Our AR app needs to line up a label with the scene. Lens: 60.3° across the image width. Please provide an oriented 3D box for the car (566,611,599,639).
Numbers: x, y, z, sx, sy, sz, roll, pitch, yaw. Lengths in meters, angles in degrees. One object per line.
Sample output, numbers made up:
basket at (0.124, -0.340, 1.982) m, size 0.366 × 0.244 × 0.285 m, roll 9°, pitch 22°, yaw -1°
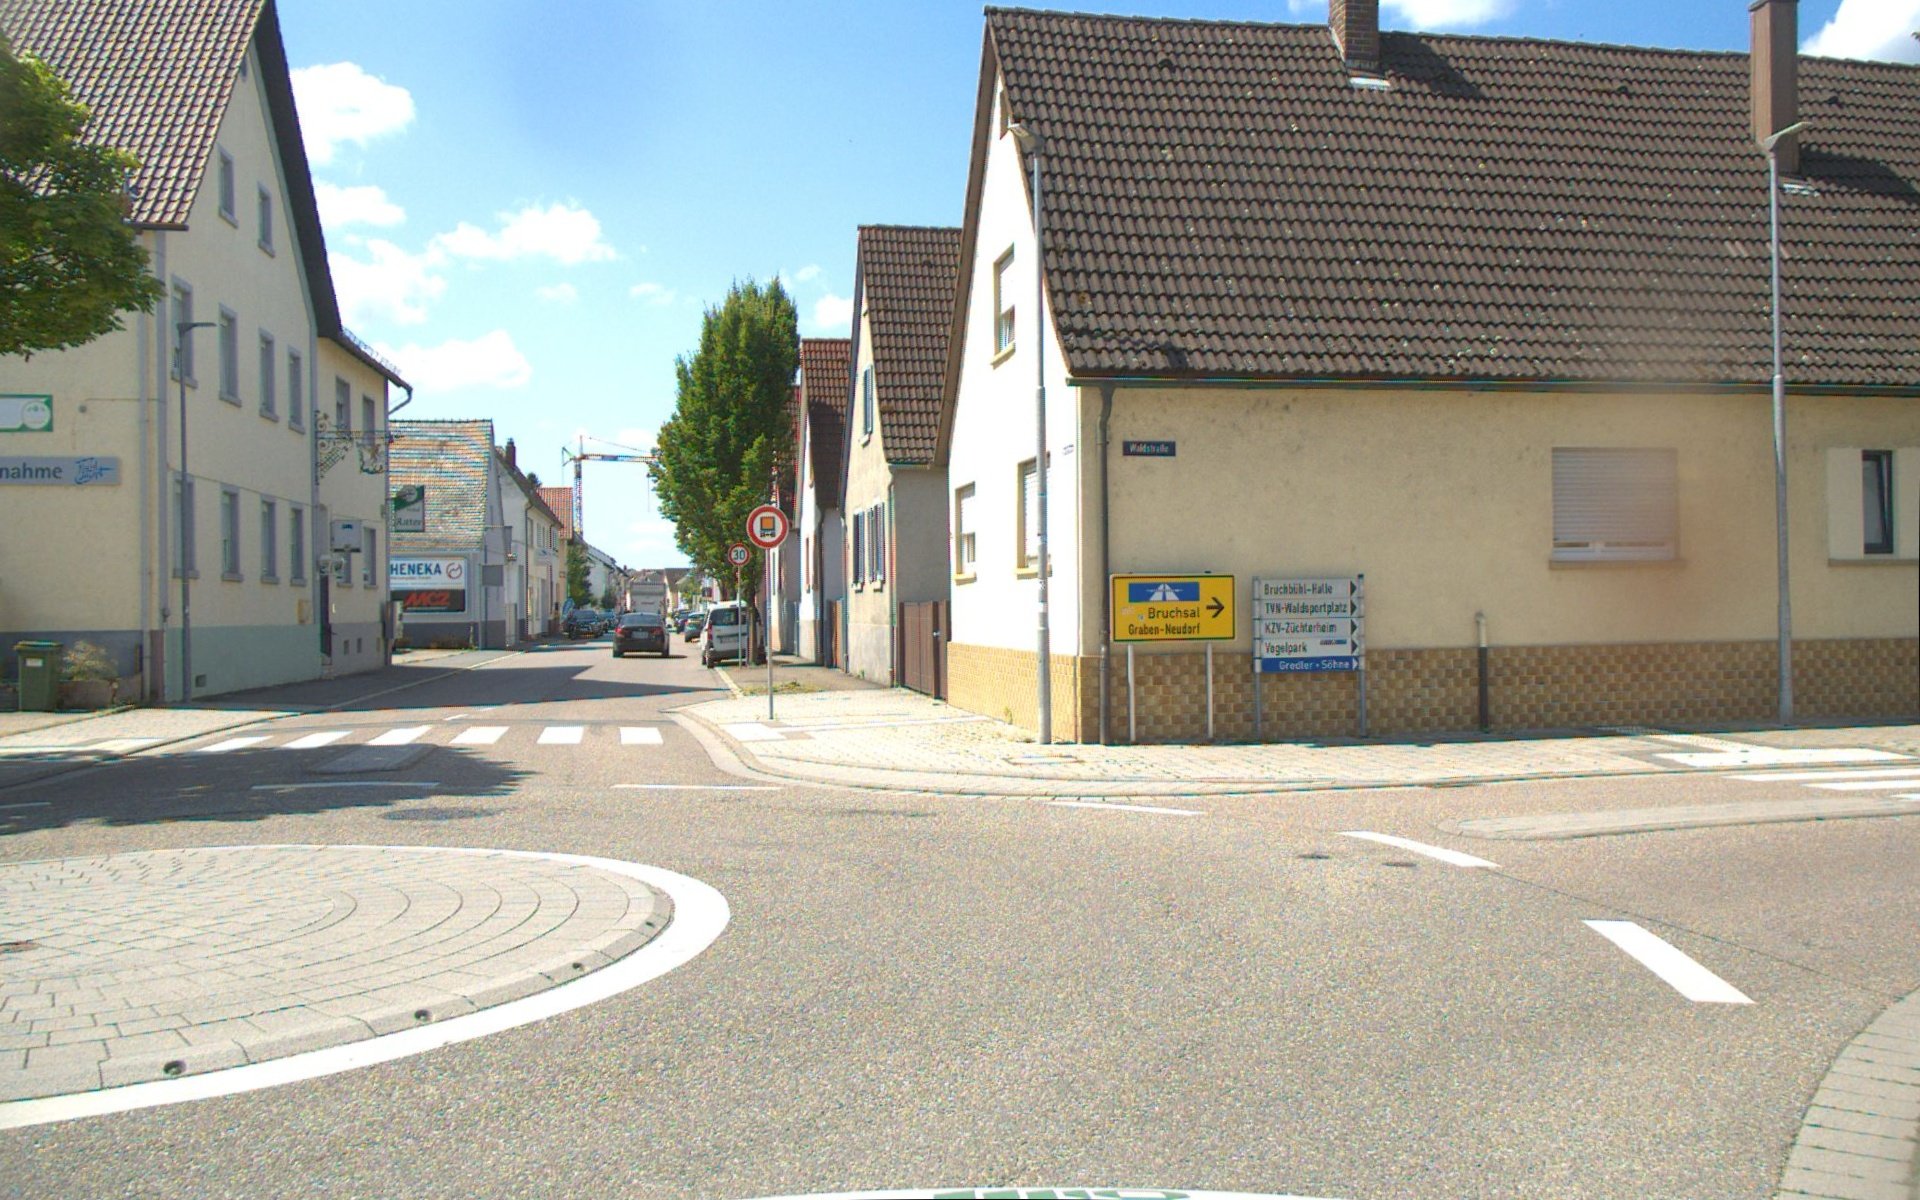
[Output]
car at (-22.100, 1.438, 96.910) m, size 1.777 × 1.617 × 3.989 m, roll 0°, pitch 0°, yaw -11°

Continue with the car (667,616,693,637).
car at (-18.915, 1.782, 111.728) m, size 1.688 × 1.379 × 4.146 m, roll 0°, pitch 0°, yaw -10°

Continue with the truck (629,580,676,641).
truck at (-23.028, 0.855, 124.315) m, size 3.087 × 4.325 × 9.281 m, roll 1°, pitch -1°, yaw -9°

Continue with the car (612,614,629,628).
car at (-39.031, 2.418, 190.304) m, size 1.777 × 1.617 × 3.989 m, roll 0°, pitch 0°, yaw -11°

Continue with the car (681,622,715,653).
car at (-13.278, 1.878, 83.970) m, size 1.687 × 1.487 × 4.148 m, roll 0°, pitch 0°, yaw -9°

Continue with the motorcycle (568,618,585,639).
motorcycle at (-21.561, 1.595, 93.097) m, size 0.831 × 1.190 × 2.462 m, roll 1°, pitch -1°, yaw -11°

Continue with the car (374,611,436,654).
car at (-20.937, 1.204, 62.535) m, size 1.689 × 1.583 × 4.186 m, roll 1°, pitch -1°, yaw -12°

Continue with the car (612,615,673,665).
car at (-10.746, 1.320, 56.230) m, size 1.867 × 1.591 × 4.466 m, roll 0°, pitch 0°, yaw -9°

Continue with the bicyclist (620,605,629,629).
bicyclist at (-29.449, 1.492, 145.286) m, size 0.727 × 2.095 × 0.841 m, roll 1°, pitch -1°, yaw -13°

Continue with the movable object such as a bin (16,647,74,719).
movable object such as a bin at (-14.420, 1.297, 26.085) m, size 0.588 × 1.097 × 0.657 m, roll -1°, pitch 0°, yaw -8°

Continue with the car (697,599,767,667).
car at (-6.658, 0.930, 47.990) m, size 1.689 × 1.821 × 4.131 m, roll -2°, pitch 0°, yaw -12°

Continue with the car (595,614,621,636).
car at (-25.805, 1.836, 121.439) m, size 1.777 × 1.617 × 3.989 m, roll 0°, pitch 0°, yaw -11°

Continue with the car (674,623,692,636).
car at (-26.778, 2.838, 159.831) m, size 1.688 × 1.291 × 4.146 m, roll 0°, pitch 0°, yaw -10°
